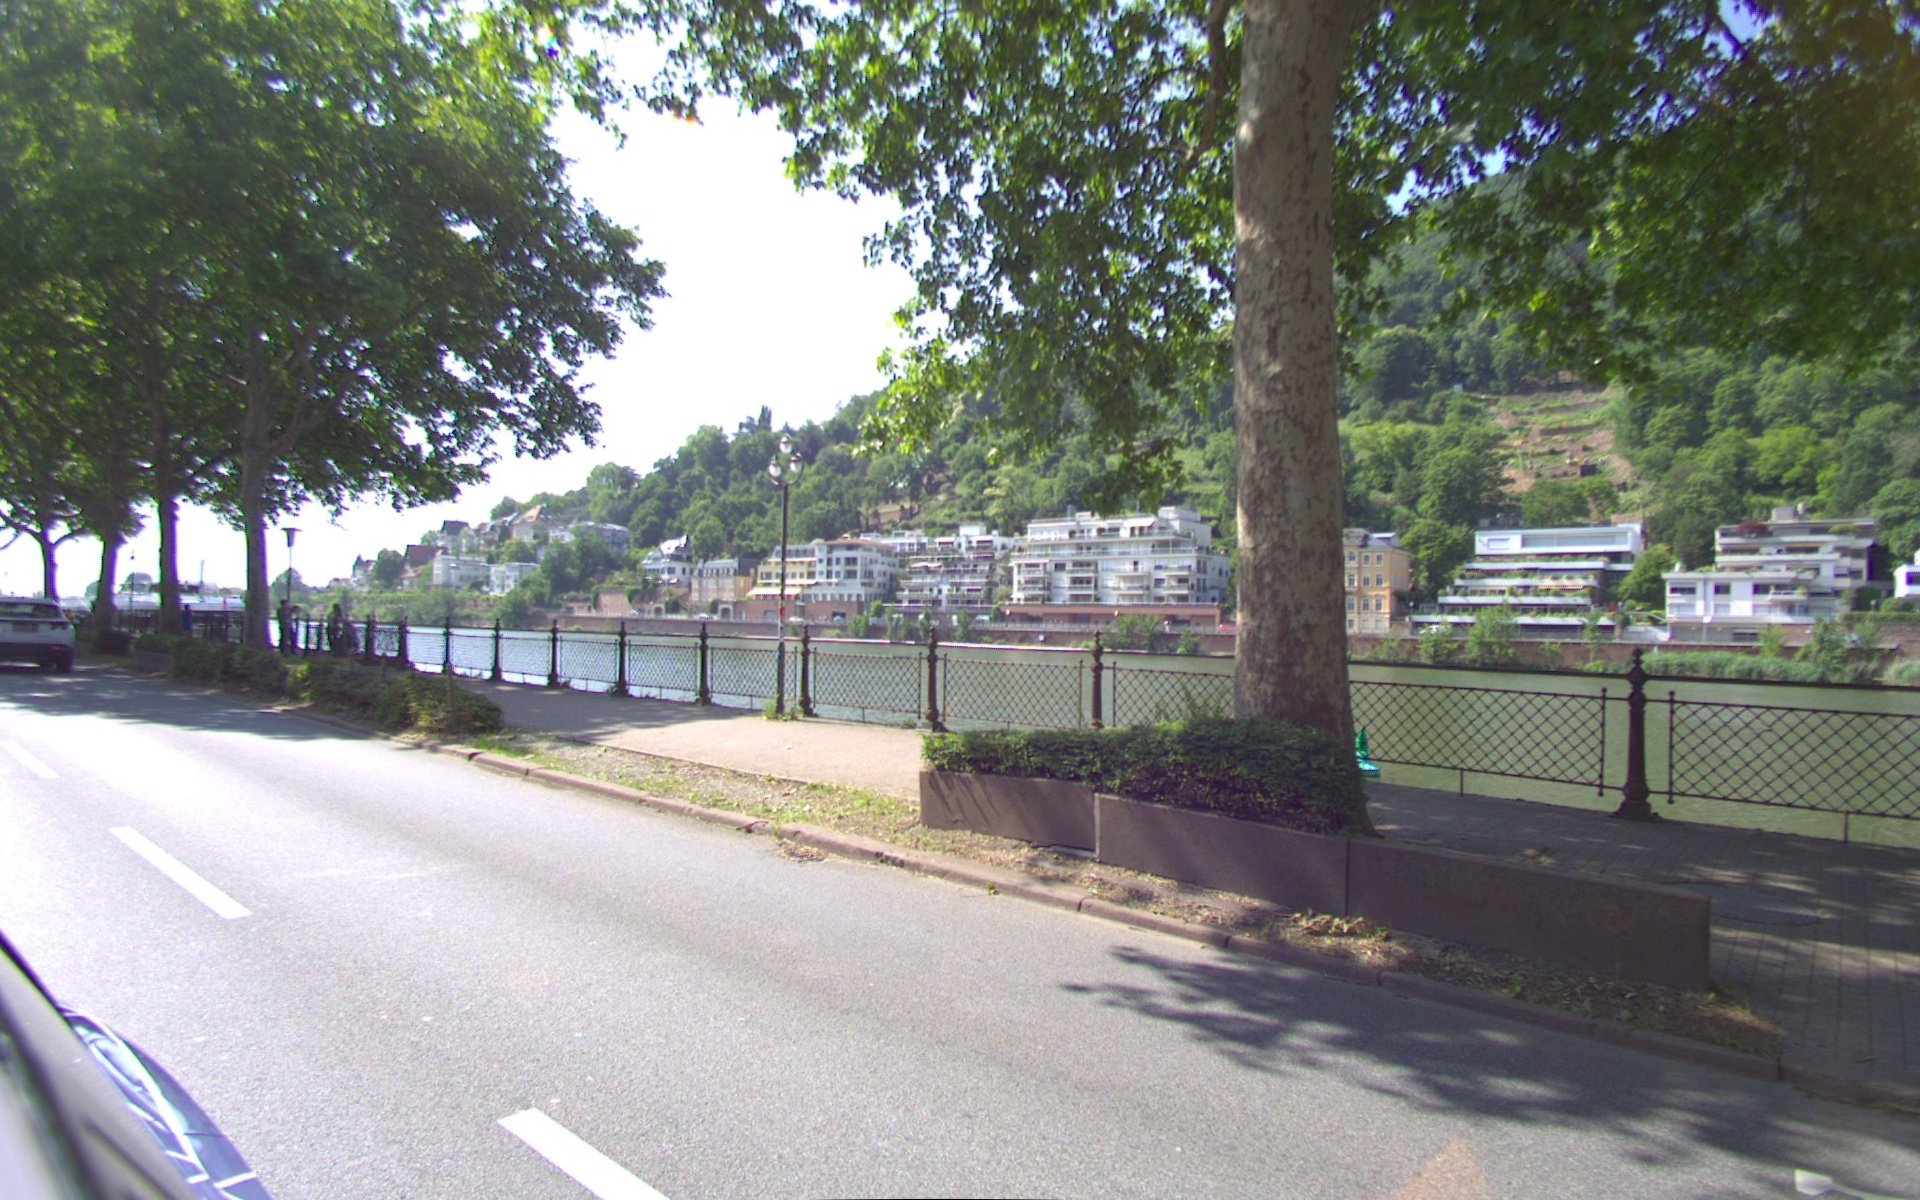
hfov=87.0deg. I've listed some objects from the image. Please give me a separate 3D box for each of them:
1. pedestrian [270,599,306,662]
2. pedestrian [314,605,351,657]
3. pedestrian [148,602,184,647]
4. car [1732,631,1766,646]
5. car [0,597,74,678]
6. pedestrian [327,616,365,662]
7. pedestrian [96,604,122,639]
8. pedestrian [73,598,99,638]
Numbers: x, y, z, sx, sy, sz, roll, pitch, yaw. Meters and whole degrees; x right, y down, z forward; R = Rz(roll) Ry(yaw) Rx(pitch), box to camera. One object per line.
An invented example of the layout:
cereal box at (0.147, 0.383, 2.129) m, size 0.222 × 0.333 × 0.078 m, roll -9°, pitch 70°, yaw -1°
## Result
pedestrian at (-20.828, 0.934, 31.383) m, size 0.756 × 1.915 × 0.772 m, roll 4°, pitch -3°, yaw -41°
pedestrian at (-21.540, 1.066, 34.755) m, size 0.829 × 1.771 × 0.767 m, roll 0°, pitch -3°, yaw 40°
pedestrian at (-36.190, 1.096, 46.143) m, size 1.032 × 2.029 × 1.038 m, roll 0°, pitch 0°, yaw -18°
car at (119.351, 5.798, 153.134) m, size 3.998 × 2.029 × 1.973 m, roll 0°, pitch 0°, yaw 41°
car at (-21.434, 0.802, 22.706) m, size 3.999 × 1.673 × 1.750 m, roll 0°, pitch -4°, yaw 42°
pedestrian at (-19.233, 1.215, 31.701) m, size 0.770 × 1.398 × 0.758 m, roll 0°, pitch -3°, yaw 40°
pedestrian at (-40.642, 1.013, 48.325) m, size 0.885 × 1.647 × 1.060 m, roll 0°, pitch 0°, yaw -43°
pedestrian at (-40.893, 0.829, 47.370) m, size 0.929 × 1.863 × 0.796 m, roll 1°, pitch 0°, yaw 41°
